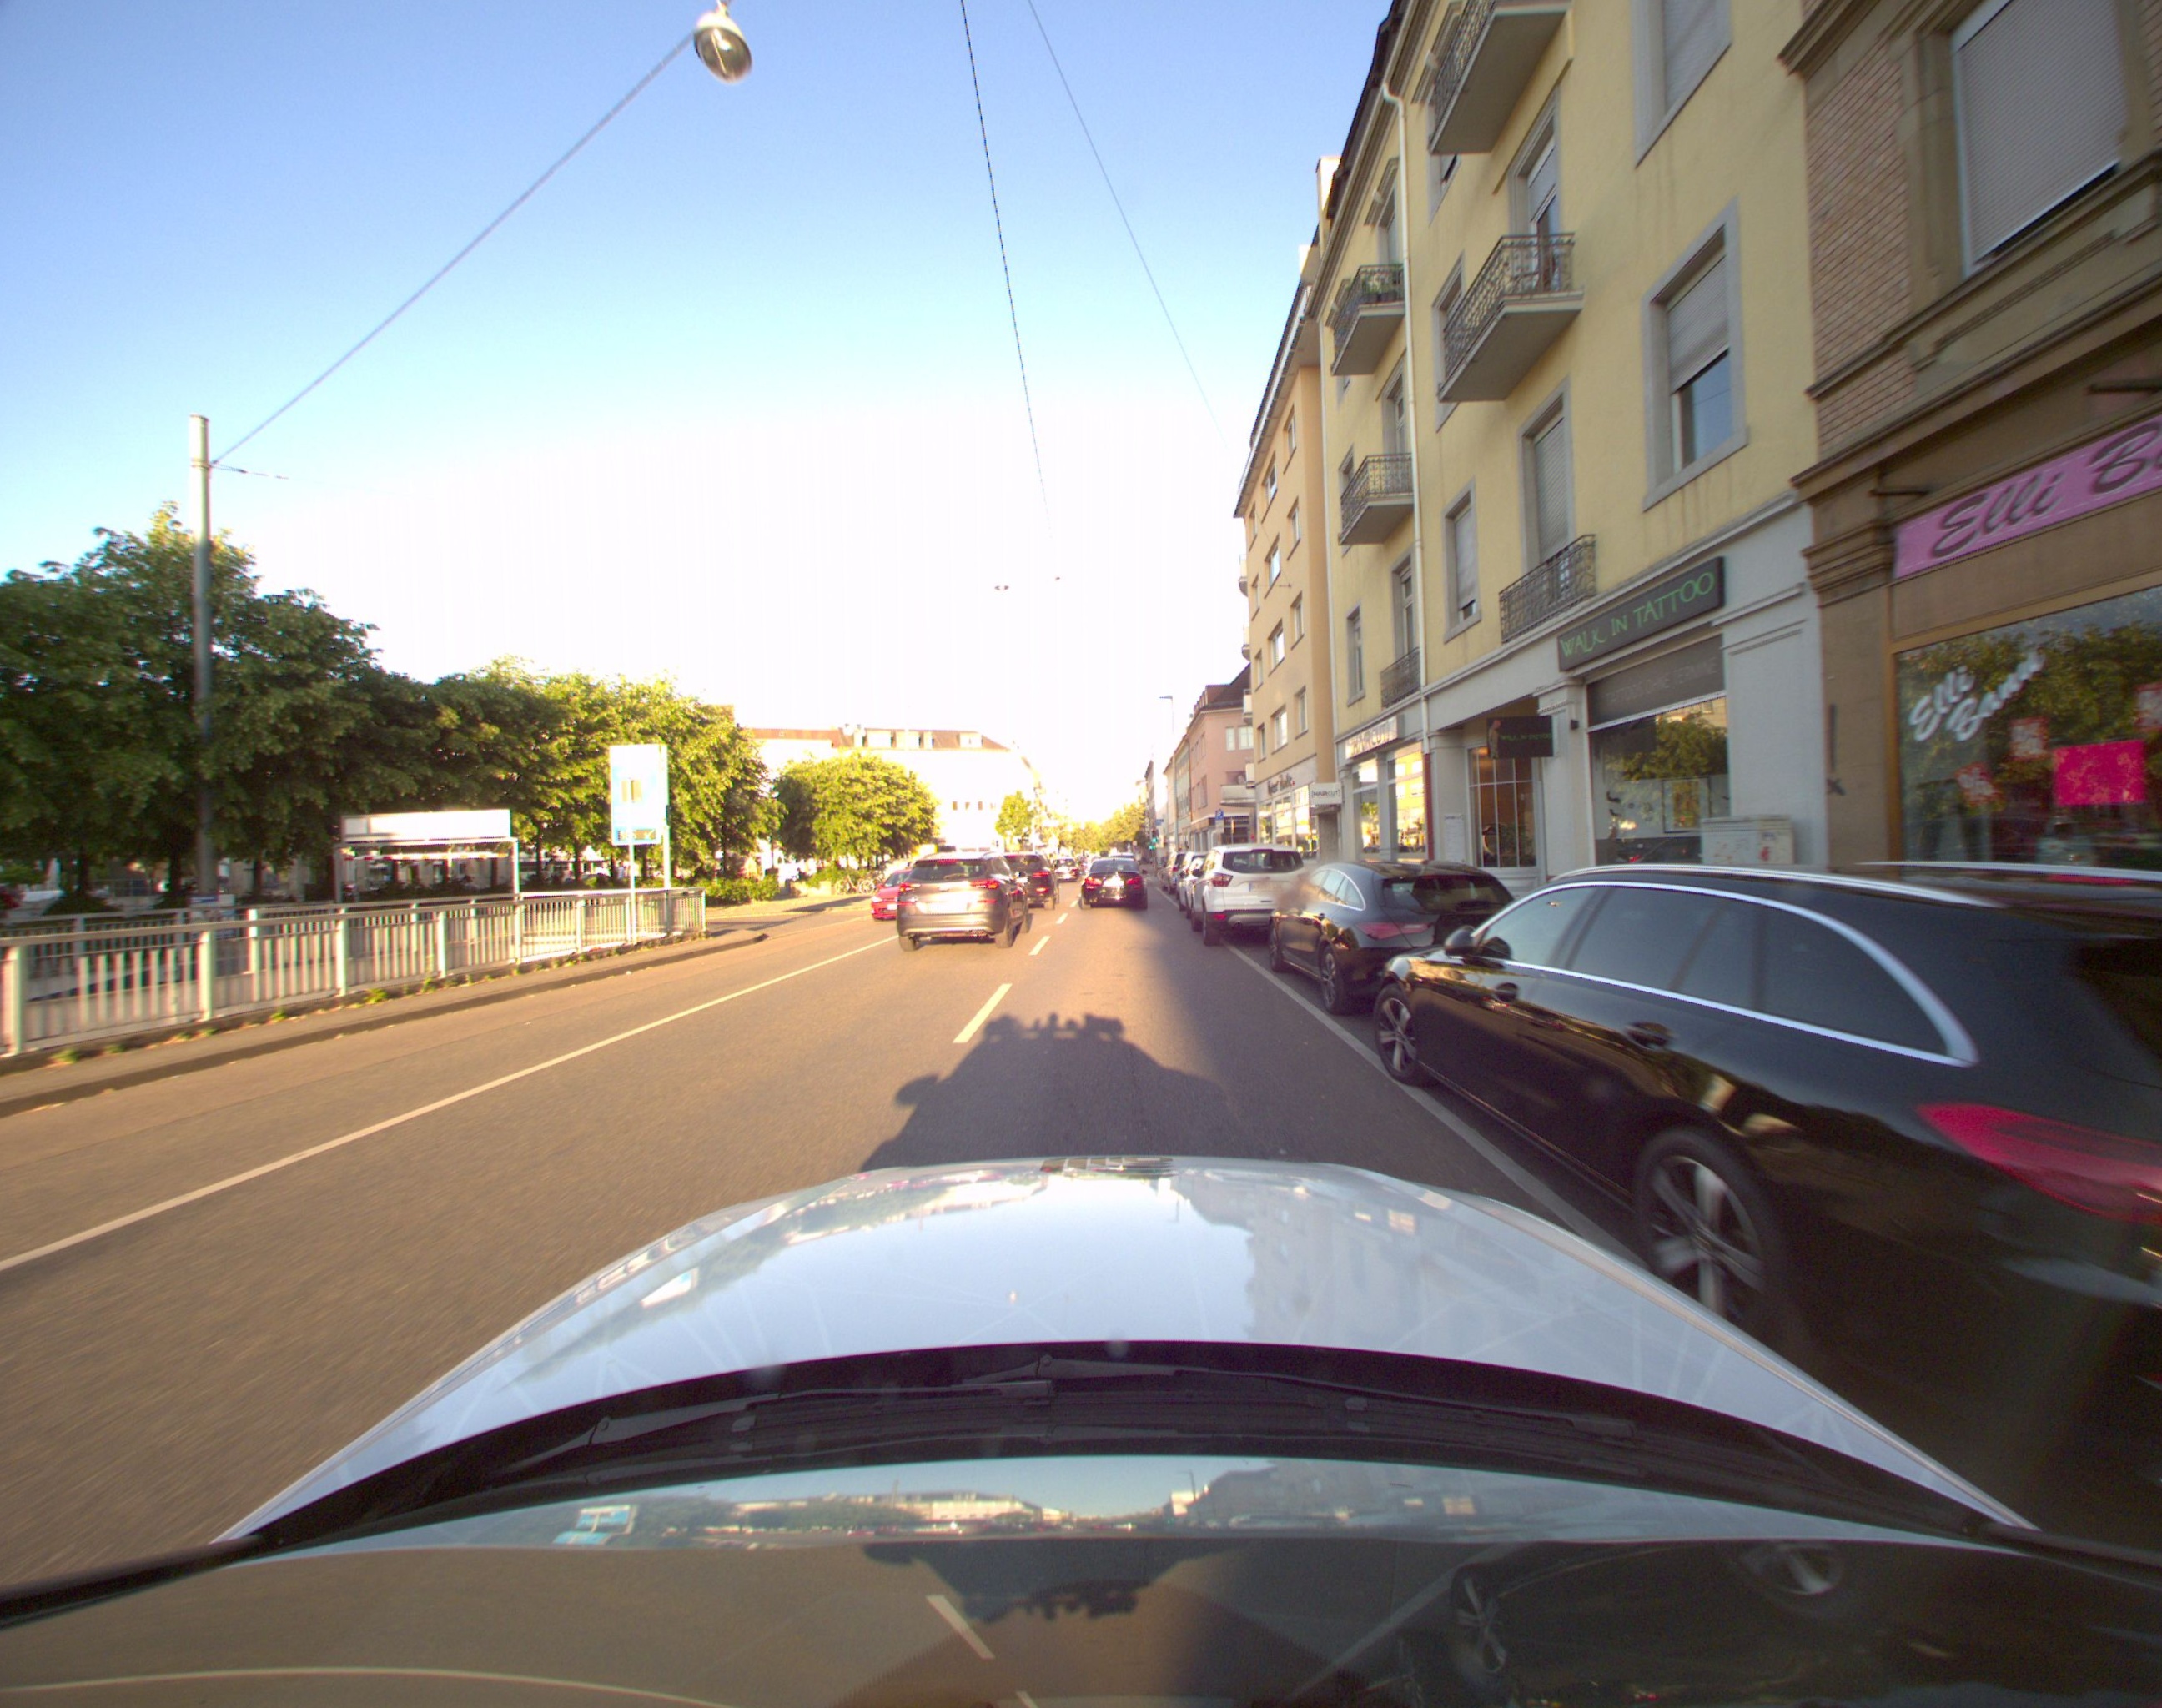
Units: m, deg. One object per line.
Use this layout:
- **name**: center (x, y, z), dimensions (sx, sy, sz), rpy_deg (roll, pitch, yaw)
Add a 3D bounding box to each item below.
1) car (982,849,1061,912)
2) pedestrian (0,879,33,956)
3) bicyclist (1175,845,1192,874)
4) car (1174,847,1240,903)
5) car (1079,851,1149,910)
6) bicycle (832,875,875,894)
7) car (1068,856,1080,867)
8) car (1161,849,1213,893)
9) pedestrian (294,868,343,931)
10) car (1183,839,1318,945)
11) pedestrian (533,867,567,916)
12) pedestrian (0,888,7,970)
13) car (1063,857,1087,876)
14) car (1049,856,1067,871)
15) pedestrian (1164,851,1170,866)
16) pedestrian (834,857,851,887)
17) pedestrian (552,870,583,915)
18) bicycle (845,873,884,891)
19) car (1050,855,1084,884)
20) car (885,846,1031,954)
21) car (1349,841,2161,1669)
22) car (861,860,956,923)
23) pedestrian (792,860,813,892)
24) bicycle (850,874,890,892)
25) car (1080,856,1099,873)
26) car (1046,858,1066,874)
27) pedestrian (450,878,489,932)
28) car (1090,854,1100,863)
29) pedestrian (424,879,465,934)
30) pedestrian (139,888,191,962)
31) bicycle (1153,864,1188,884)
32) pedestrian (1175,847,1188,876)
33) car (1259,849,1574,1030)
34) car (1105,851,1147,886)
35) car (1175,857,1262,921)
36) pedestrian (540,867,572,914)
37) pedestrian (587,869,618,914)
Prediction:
- **car**: center (-1.664, 0.731, 24.254), dimensions (1.890, 1.649, 4.105), rpy_deg (-2, 0, 1)
- **pedestrian**: center (-22.972, 1.354, 17.356), dimensions (0.783, 1.595, 0.571), rpy_deg (-1, 0, 21)
- **bicyclist**: center (6.242, 0.340, 49.408), dimensions (0.823, 1.777, 0.612), rpy_deg (-2, 0, 29)
- **car**: center (3.946, 0.647, 26.017), dimensions (1.723, 1.652, 3.831), rpy_deg (0, -1, 3)
- **car**: center (0.946, 0.722, 24.038), dimensions (1.889, 1.581, 4.001), rpy_deg (0, 0, 2)
- **bicycle**: center (-10.545, 1.405, 37.811), dimensions (1.820, 0.853, 0.483), rpy_deg (1, -1, -2)
- **car**: center (-1.074, 1.229, 129.013), dimensions (1.685, 1.552, 3.952), rpy_deg (-4, 0, 2)
- **car**: center (4.146, 0.653, 32.239), dimensions (1.723, 1.652, 3.973), rpy_deg (0, -1, 3)
- **pedestrian**: center (-19.839, 1.182, 21.198), dimensions (0.672, 1.595, 0.680), rpy_deg (-2, 0, 21)
- **car**: center (2.895, 0.614, 14.769), dimensions (1.723, 1.651, 4.287), rpy_deg (0, -1, 3)
- **pedestrian**: center (-17.834, 1.258, 27.356), dimensions (0.783, 1.595, 0.571), rpy_deg (-1, 0, 21)
- **pedestrian**: center (-21.619, 1.487, 15.924), dimensions (0.672, 1.595, 0.571), rpy_deg (-2, 0, 21)
- **car**: center (-0.470, 1.018, 67.805), dimensions (1.773, 1.547, 4.001), rpy_deg (-2, 0, 1)
- **car**: center (-2.640, 1.114, 94.087), dimensions (1.685, 1.552, 3.952), rpy_deg (-4, 0, 2)
- **pedestrian**: center (8.746, 0.422, 82.787), dimensions (0.629, 1.534, 0.702), rpy_deg (-1, 0, 5)
- **pedestrian**: center (-12.694, 0.952, 43.322), dimensions (0.677, 1.595, 0.490), rpy_deg (-1, 0, 21)
- **pedestrian**: center (-18.260, 1.364, 28.968), dimensions (0.783, 1.595, 0.571), rpy_deg (-1, 0, 21)
- **bicycle**: center (-10.761, 1.411, 40.533), dimensions (1.820, 0.853, 0.483), rpy_deg (1, -1, -2)
- **car**: center (-0.778, 0.834, 46.844), dimensions (1.773, 1.547, 4.001), rpy_deg (-2, 0, 1)
- **car**: center (-2.063, 0.740, 14.907), dimensions (1.890, 1.649, 4.105), rpy_deg (-2, 0, 2)
- **car**: center (2.724, 0.728, 3.677), dimensions (1.723, 1.448, 4.527), rpy_deg (0, -1, 3)
- **car**: center (-4.903, 1.009, 23.632), dimensions (1.685, 1.552, 3.952), rpy_deg (-4, 0, 2)
- **pedestrian**: center (-14.161, 1.116, 41.375), dimensions (0.783, 1.595, 0.571), rpy_deg (-1, 0, 21)
- **bicycle**: center (-10.255, 1.412, 39.608), dimensions (1.820, 0.853, 0.483), rpy_deg (1, -1, -2)
- **car**: center (0.873, 0.990, 78.806), dimensions (1.773, 1.547, 4.001), rpy_deg (-2, 0, 1)
- **car**: center (-2.537, 1.201, 83.077), dimensions (1.685, 1.552, 3.952), rpy_deg (-4, 0, 2)
- **pedestrian**: center (-18.804, 1.549, 25.030), dimensions (0.672, 1.595, 0.680), rpy_deg (-2, 0, 21)
- **car**: center (2.367, 0.764, 137.333), dimensions (1.773, 1.547, 4.001), rpy_deg (-2, 0, 1)
- **pedestrian**: center (-19.060, 1.562, 24.385), dimensions (0.672, 1.595, 0.680), rpy_deg (-2, 0, 21)
- **pedestrian**: center (-20.717, 1.591, 18.420), dimensions (0.672, 1.595, 0.571), rpy_deg (-2, 0, 21)
- **bicycle**: center (4.626, 1.022, 42.200), dimensions (1.756, 0.967, 0.491), rpy_deg (-1, 0, 7)
- **pedestrian**: center (6.353, 0.464, 51.440), dimensions (0.697, 1.812, 0.634), rpy_deg (-1, 0, -2)
- **car**: center (3.167, 0.711, 8.757), dimensions (1.723, 1.448, 4.476), rpy_deg (0, -1, 3)
- **car**: center (2.100, 0.668, 39.190), dimensions (1.889, 1.581, 4.001), rpy_deg (0, 0, 2)
- **car**: center (3.342, 0.815, 20.520), dimensions (1.722, 1.450, 4.316), rpy_deg (0, -1, 3)
- **pedestrian**: center (-18.114, 1.258, 28.104), dimensions (0.783, 1.595, 0.571), rpy_deg (-1, 0, 21)
- **pedestrian**: center (-17.275, 1.361, 29.373), dimensions (0.783, 1.595, 0.571), rpy_deg (-1, 0, 21)
